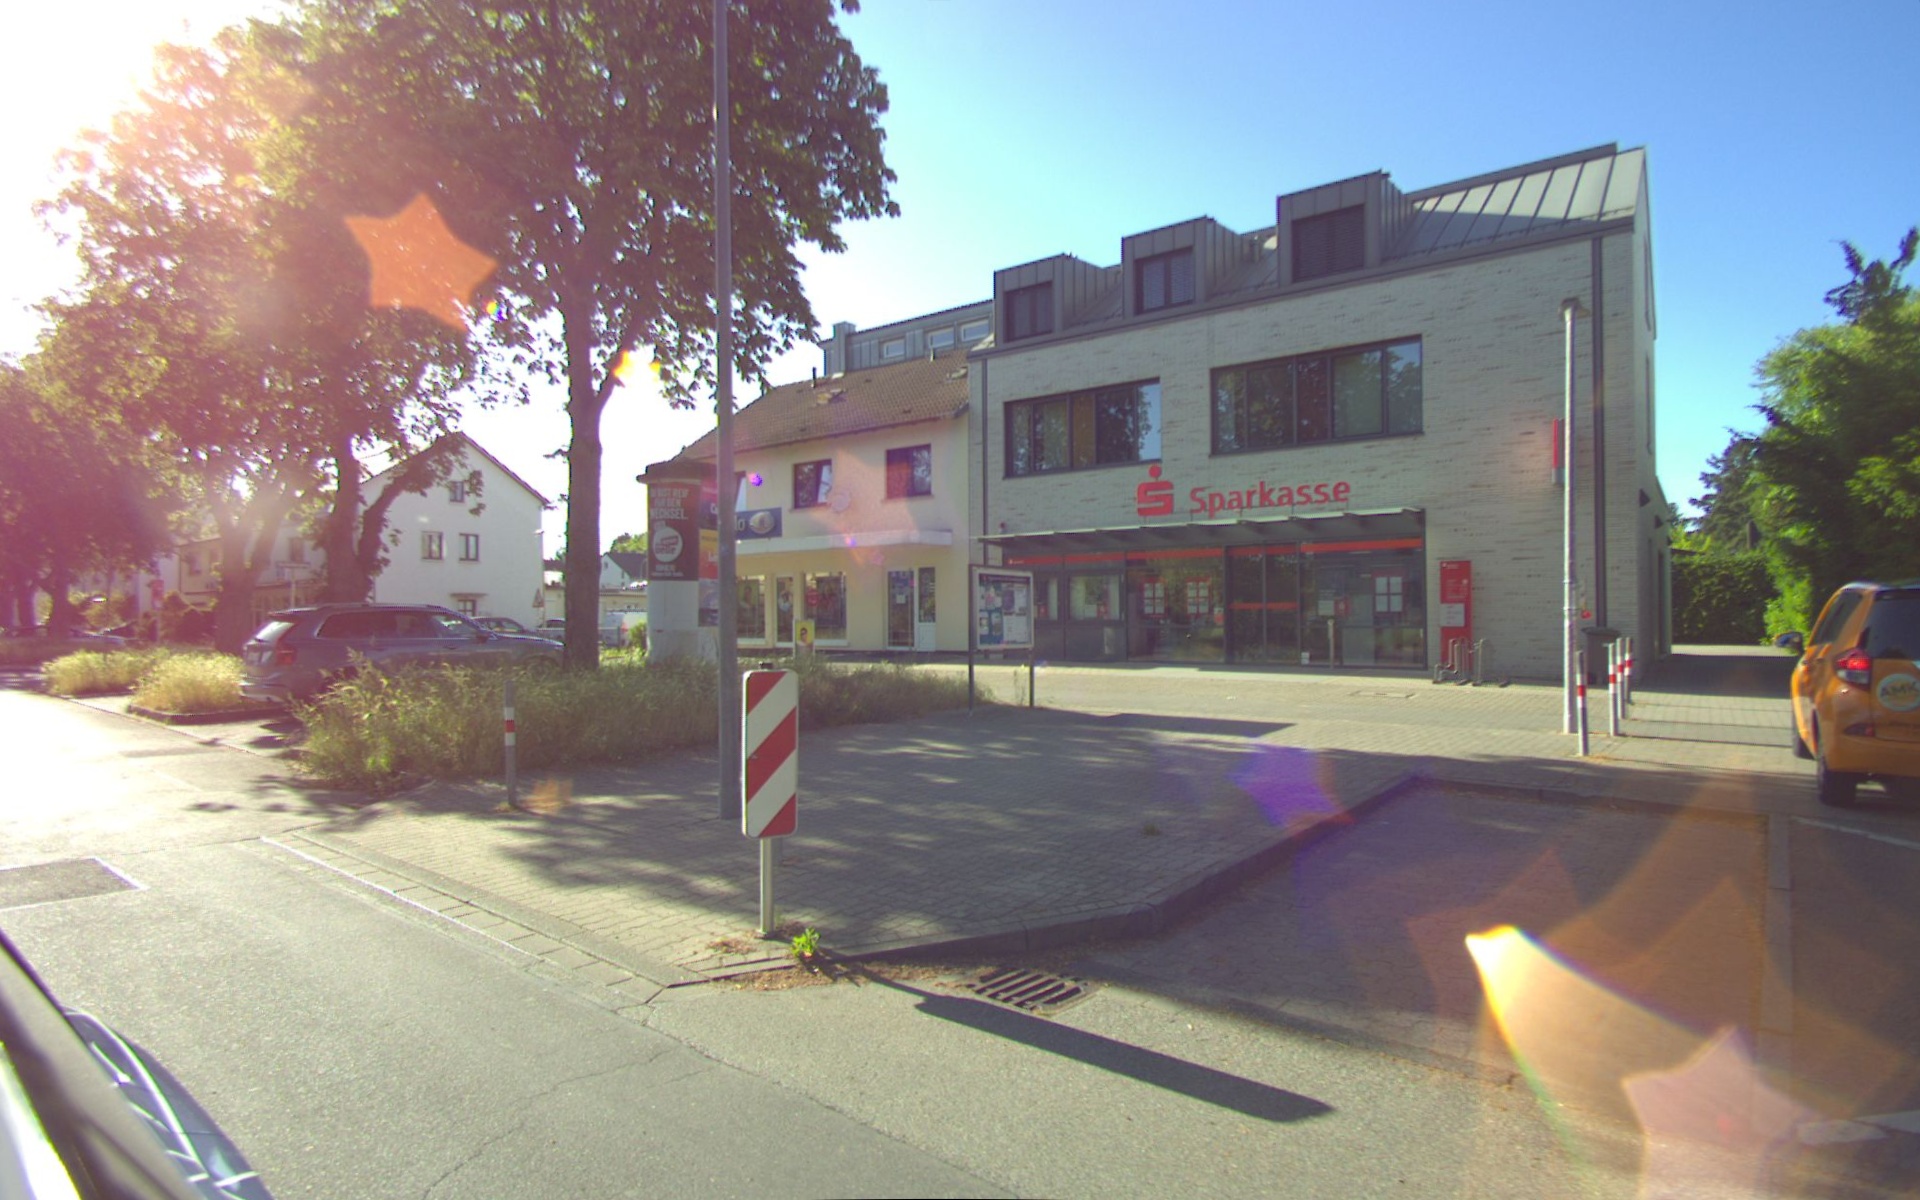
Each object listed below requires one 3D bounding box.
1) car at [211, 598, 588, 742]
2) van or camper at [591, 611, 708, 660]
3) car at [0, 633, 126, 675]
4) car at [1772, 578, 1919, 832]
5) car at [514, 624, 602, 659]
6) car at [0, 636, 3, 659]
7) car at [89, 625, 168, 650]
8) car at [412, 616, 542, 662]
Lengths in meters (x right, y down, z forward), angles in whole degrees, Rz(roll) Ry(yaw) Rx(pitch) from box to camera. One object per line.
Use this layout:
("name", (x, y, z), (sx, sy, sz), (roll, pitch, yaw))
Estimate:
("car", (-8.951, 0.986, 16.653), (1.996, 1.740, 5.017), (-1, 2, 36))
("van or camper", (-13.543, 1.518, 44.377), (1.997, 2.029, 4.628), (-1, -1, 38))
("car", (-37.265, 2.178, 41.587), (1.998, 1.426, 4.338), (-1, 1, 39))
("car", (7.511, 0.618, 7.614), (1.866, 1.554, 3.953), (-1, 0, 35))
("car", (-20.040, 2.036, 50.360), (4.659, 1.539, 1.855), (1, 0, 36))
("car", (-58.291, 2.878, 58.807), (1.621, 1.333, 3.653), (-1, 1, 34))
("car", (-53.274, 2.393, 64.853), (1.691, 1.577, 3.723), (-1, -2, 43))
("car", (-18.068, 1.451, 38.019), (1.995, 1.650, 3.953), (-1, -2, 34))
